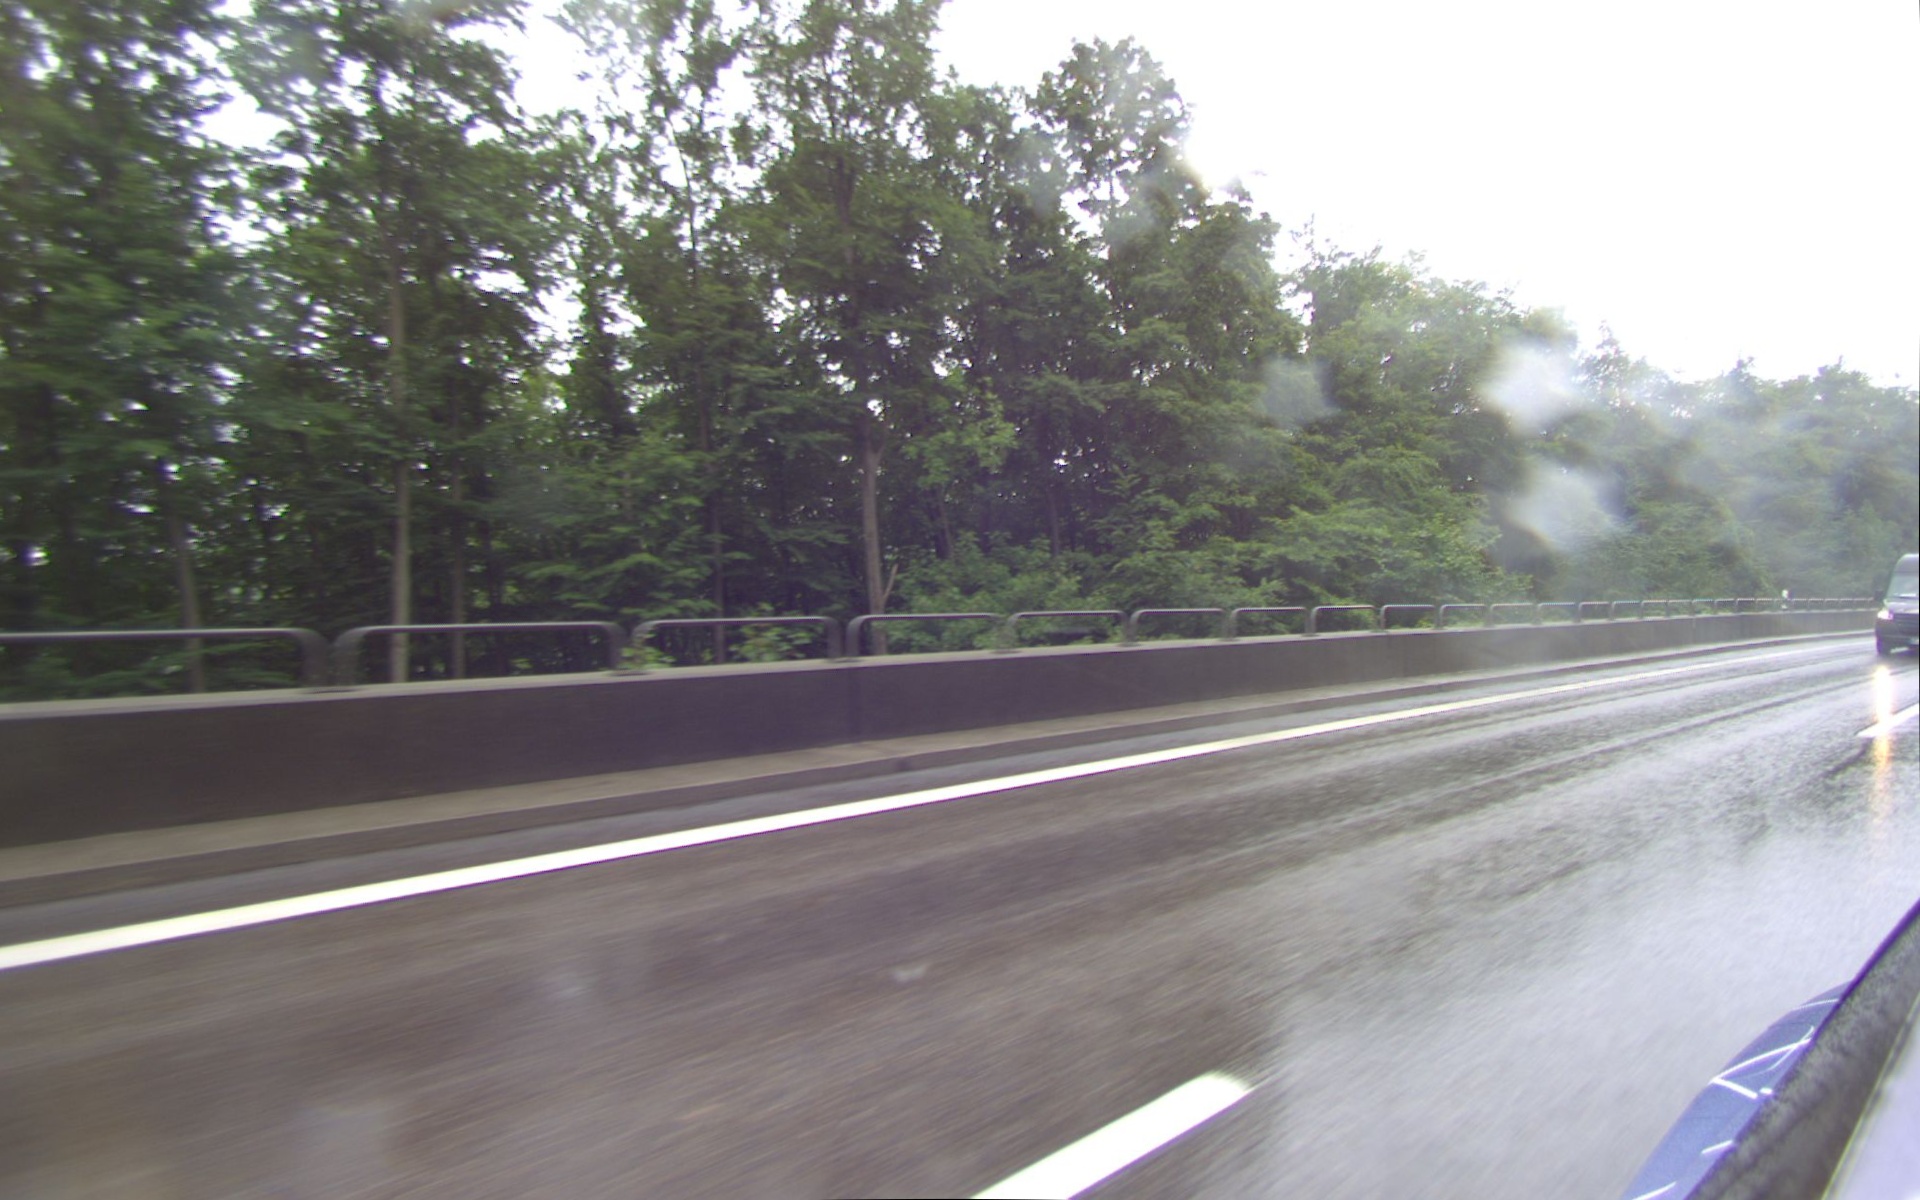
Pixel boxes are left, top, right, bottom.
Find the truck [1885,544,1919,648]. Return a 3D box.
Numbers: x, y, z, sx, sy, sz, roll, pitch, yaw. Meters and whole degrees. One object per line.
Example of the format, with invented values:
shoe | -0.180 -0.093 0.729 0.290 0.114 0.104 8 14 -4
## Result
truck | 26.478 -0.112 26.624 7.860 2.527 2.108 0 1 -40
